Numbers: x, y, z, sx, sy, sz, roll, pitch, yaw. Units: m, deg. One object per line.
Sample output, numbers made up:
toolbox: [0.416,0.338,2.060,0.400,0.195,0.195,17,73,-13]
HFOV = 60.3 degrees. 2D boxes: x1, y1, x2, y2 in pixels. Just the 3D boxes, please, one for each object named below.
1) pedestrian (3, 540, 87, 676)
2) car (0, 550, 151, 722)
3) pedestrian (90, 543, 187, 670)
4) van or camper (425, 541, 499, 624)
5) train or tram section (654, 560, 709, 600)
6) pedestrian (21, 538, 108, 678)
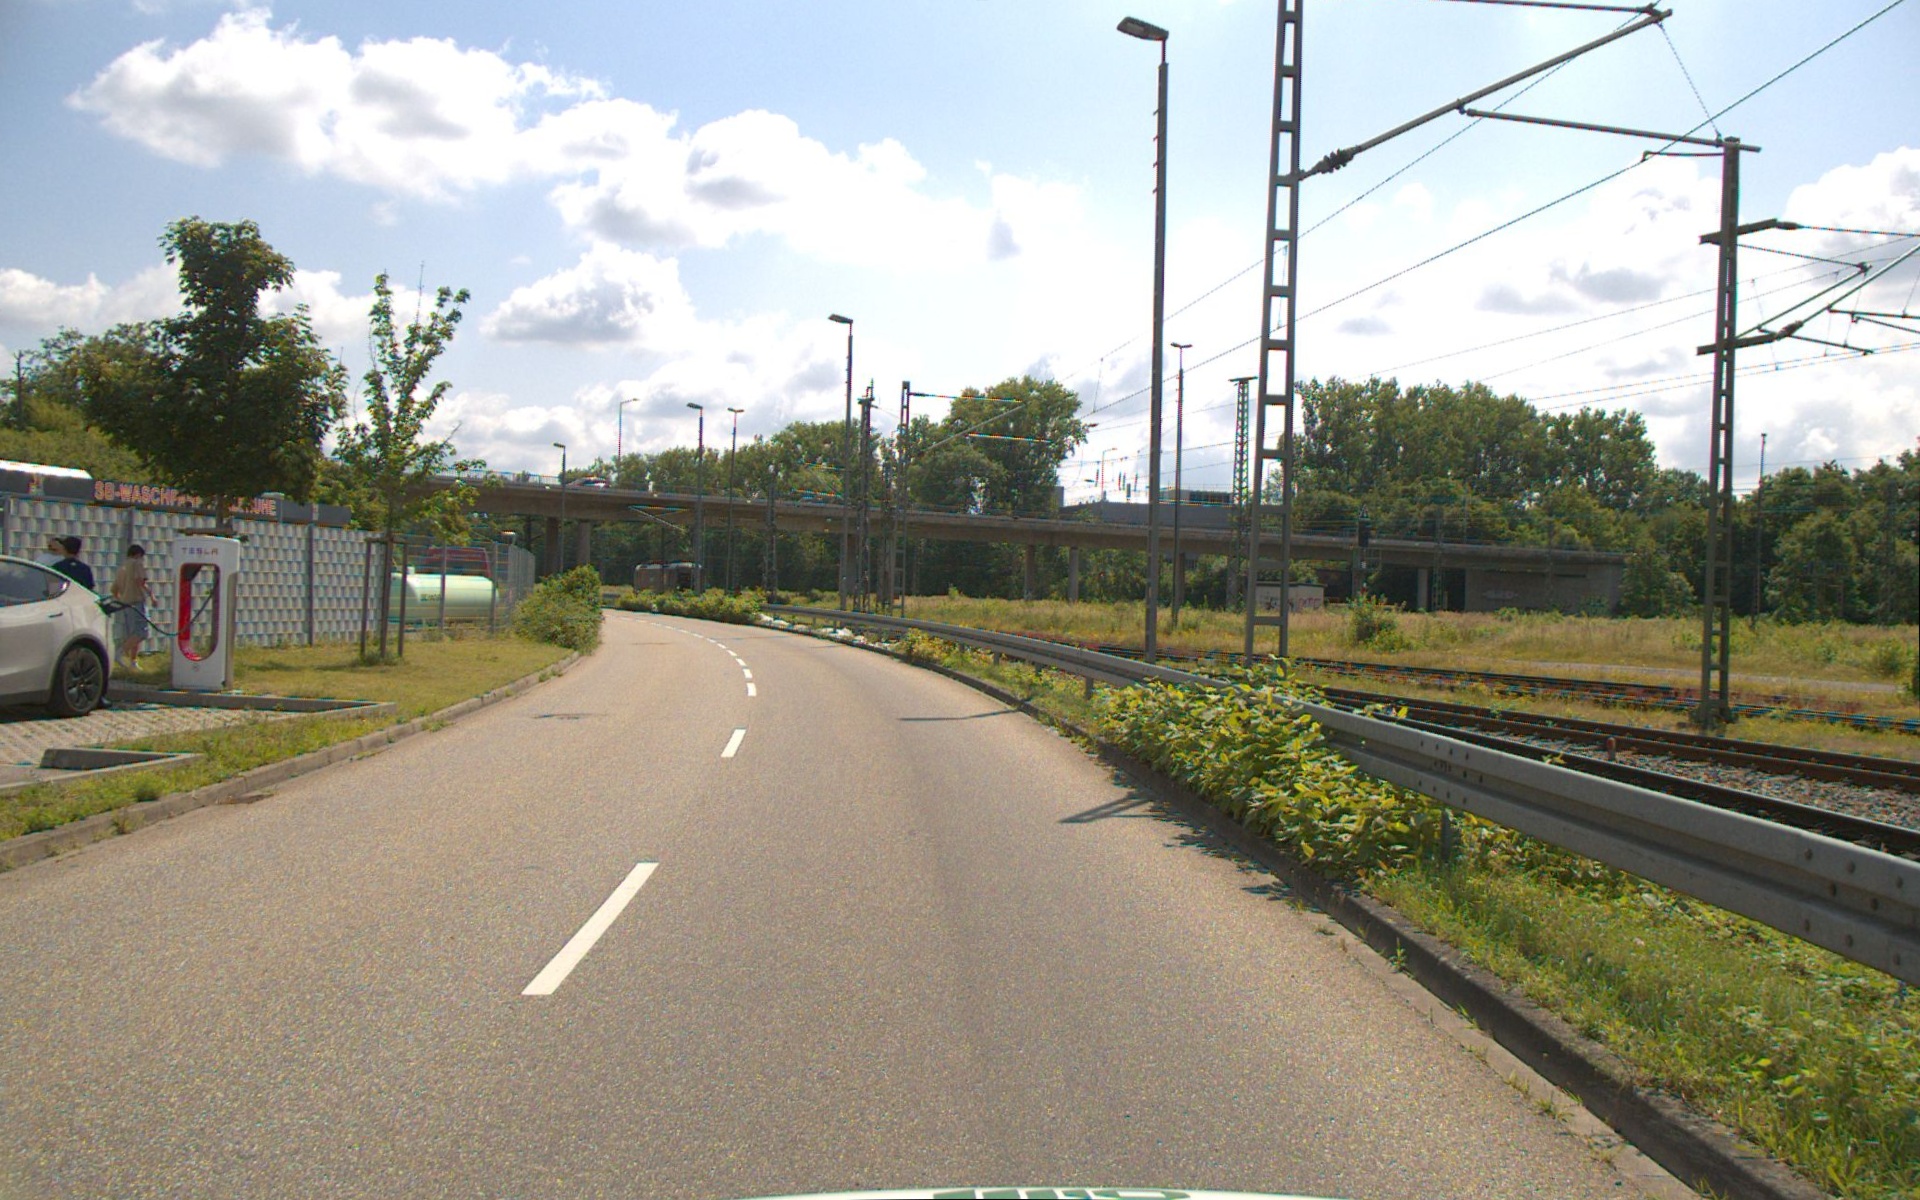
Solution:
pedestrian: [-11.034,0.098,19.941,0.707,1.593,0.747,2,-1,-42]
car: [-9.903,0.334,15.515,1.890,1.544,4.779,2,2,6]
pedestrian: [-10.382,0.080,20.925,0.722,1.569,0.816,1,0,8]
van or camper: [-16.396,-0.602,54.644,2.152,2.558,5.678,-1,1,-15]
train or tram section: [-25.826,-1.826,153.218,2.853,3.570,8.498,1,0,-25]
pedestrian: [-10.509,0.093,19.410,0.716,1.607,0.702,2,-1,-43]
